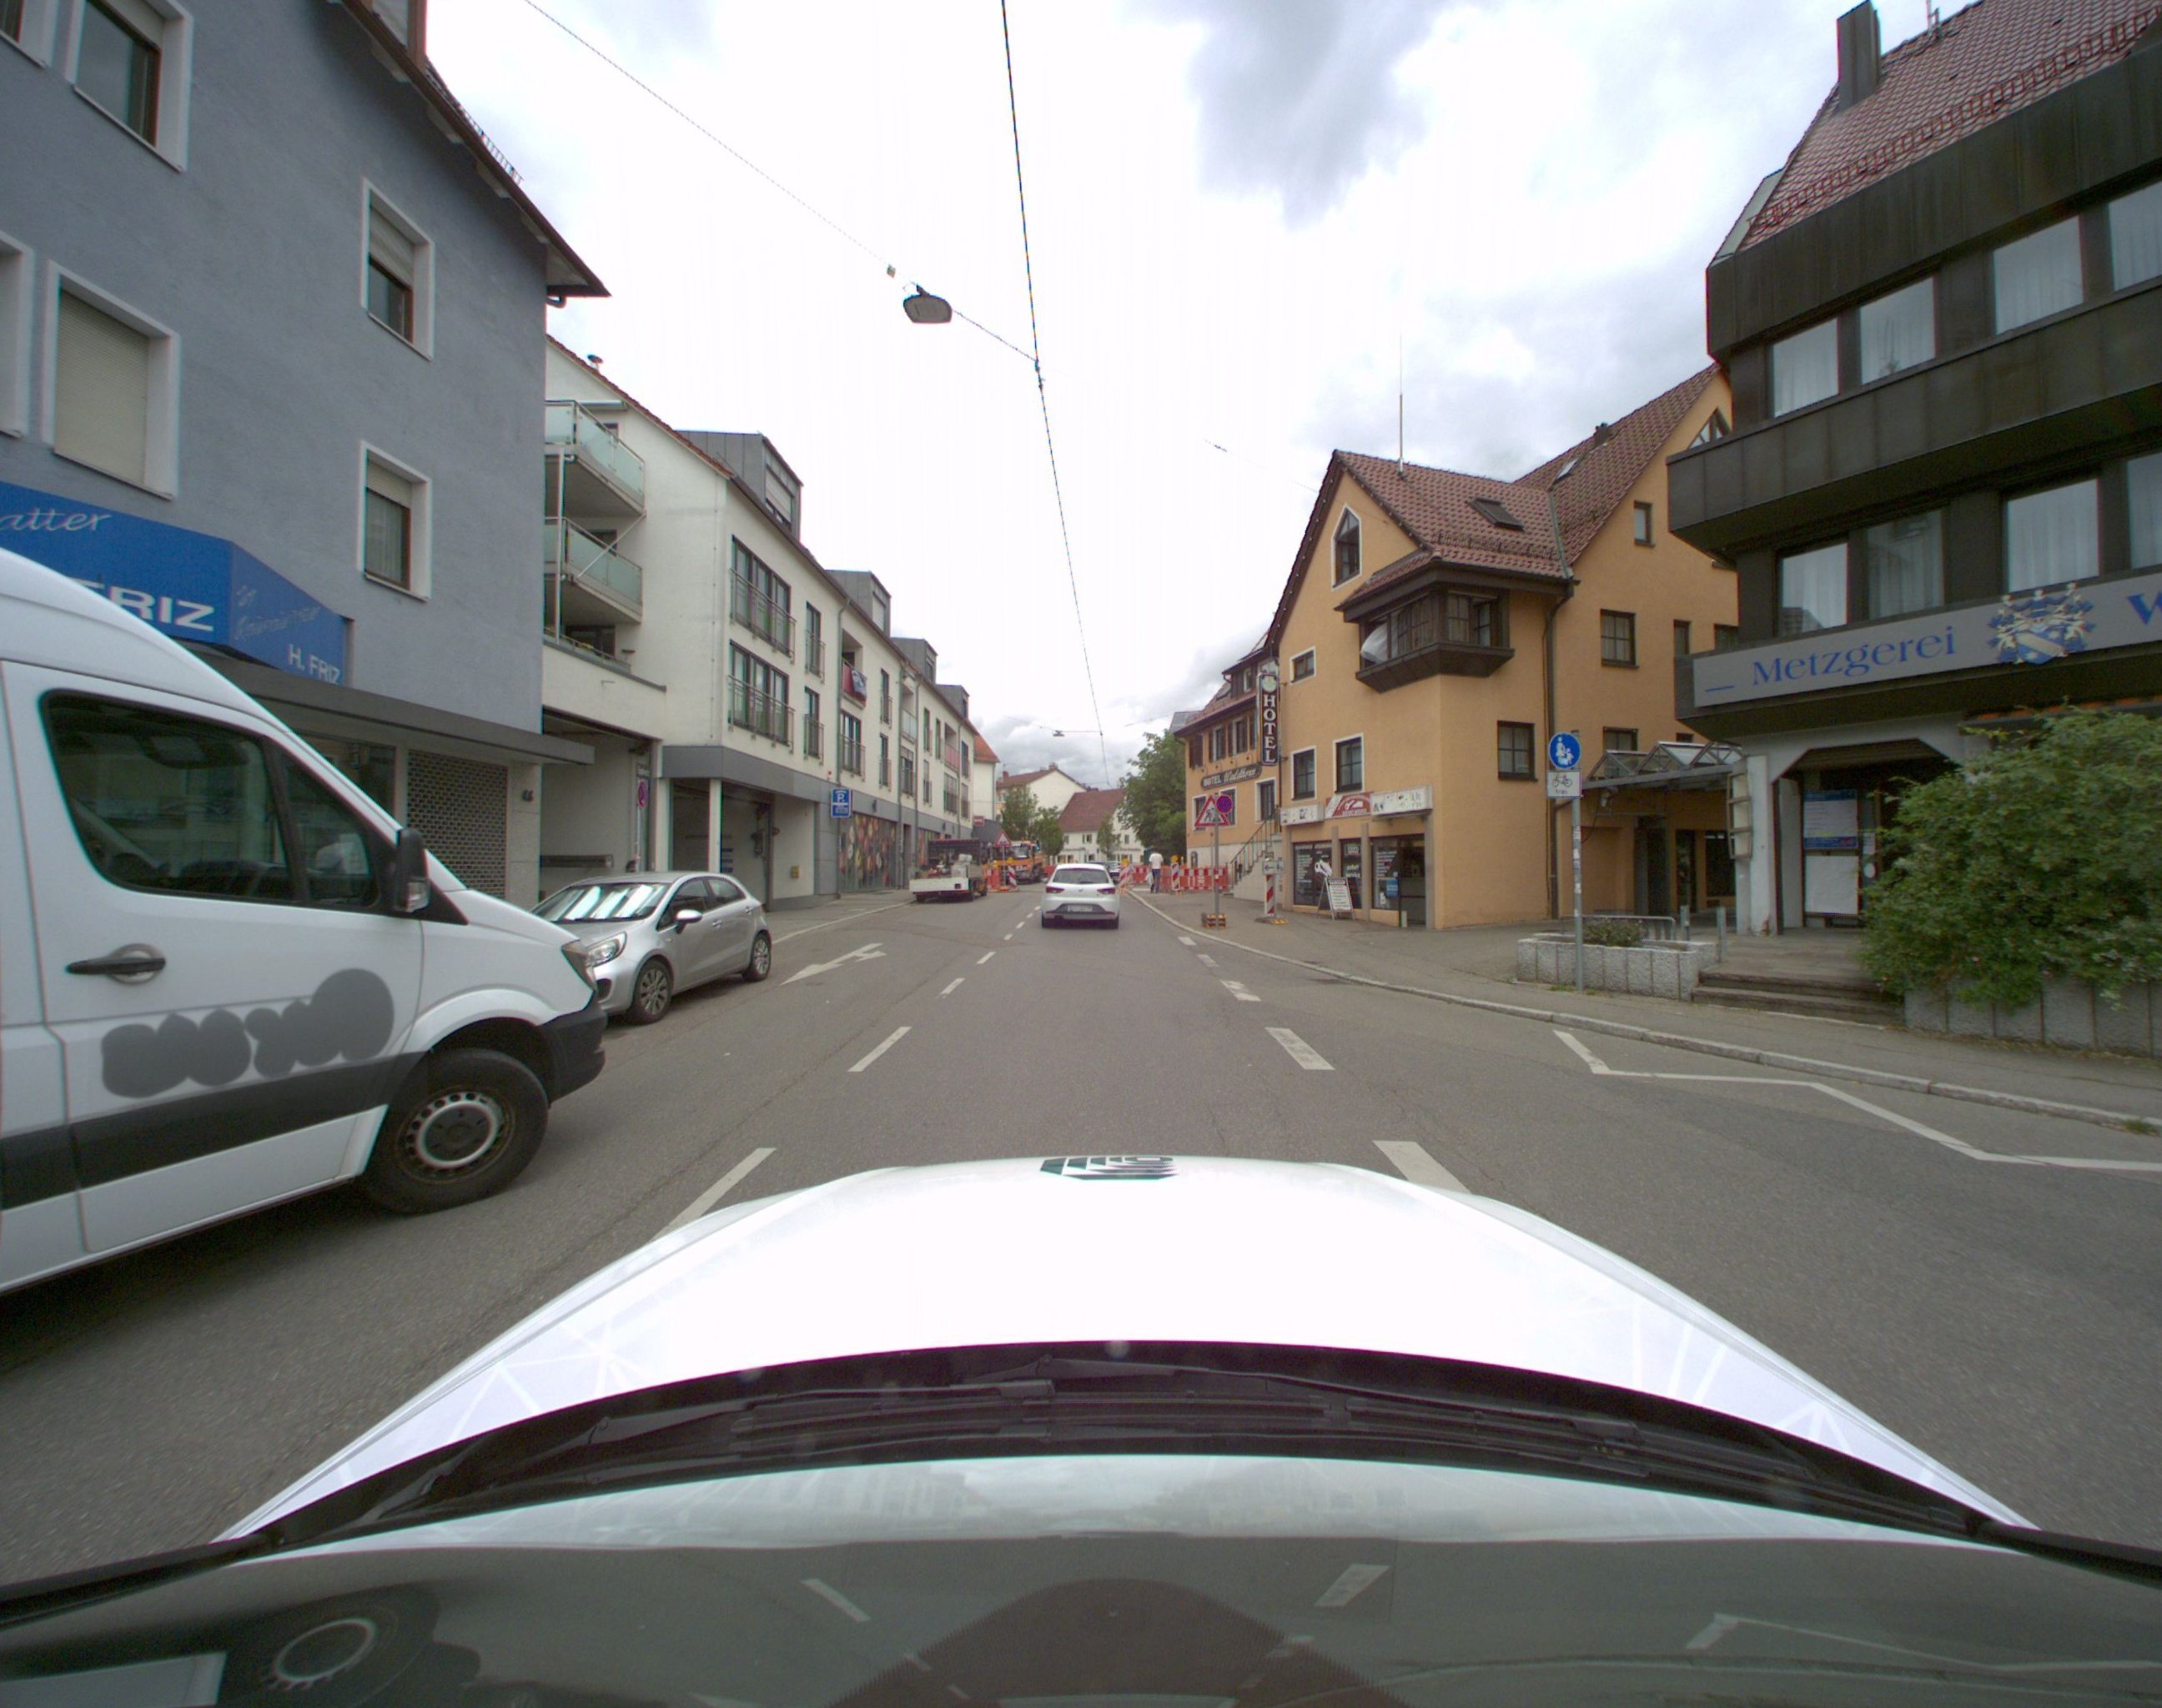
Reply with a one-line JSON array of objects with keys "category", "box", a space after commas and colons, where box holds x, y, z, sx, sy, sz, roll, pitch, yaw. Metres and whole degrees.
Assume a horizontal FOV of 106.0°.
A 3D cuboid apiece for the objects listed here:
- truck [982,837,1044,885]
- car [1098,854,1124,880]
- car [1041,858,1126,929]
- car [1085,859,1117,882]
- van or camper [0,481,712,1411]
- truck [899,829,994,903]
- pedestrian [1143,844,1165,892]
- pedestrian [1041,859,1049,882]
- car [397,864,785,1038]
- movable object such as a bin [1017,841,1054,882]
[{"category": "truck", "box": [-4.071, 0.423, 50.533, 2.718, 2.725, 6.856, -1, 0, 5]}, {"category": "car", "box": [2.516, 1.065, 67.176, 1.984, 2.014, 4.005, -1, -1, 5]}, {"category": "car", "box": [0.088, 0.865, 19.412, 1.805, 1.481, 3.871, 1, 0, 1]}, {"category": "car", "box": [1.381, 1.110, 55.801, 1.802, 1.481, 3.877, -1, 0, 7]}, {"category": "van or camper", "box": [-4.229, 0.270, 2.276, 2.302, 2.607, 6.233, -1, 0, 16]}, {"category": "truck", "box": [-4.938, 0.405, 30.985, 2.405, 2.466, 6.308, -1, 0, 1]}, {"category": "pedestrian", "box": [3.025, 0.555, 33.737, 0.796, 1.950, 0.836, -1, 0, -2]}, {"category": "pedestrian", "box": [-2.650, 1.224, 60.287, 0.534, 1.744, 0.445, -1, -1, 8]}, {"category": "car", "box": [-4.927, 0.854, 8.982, 1.791, 1.411, 4.000, -1, 0, 1]}, {"category": "movable object such as a bin", "box": [-3.115, 0.572, 56.688, 1.830, 2.764, 4.513, -1, -2, 6]}]
